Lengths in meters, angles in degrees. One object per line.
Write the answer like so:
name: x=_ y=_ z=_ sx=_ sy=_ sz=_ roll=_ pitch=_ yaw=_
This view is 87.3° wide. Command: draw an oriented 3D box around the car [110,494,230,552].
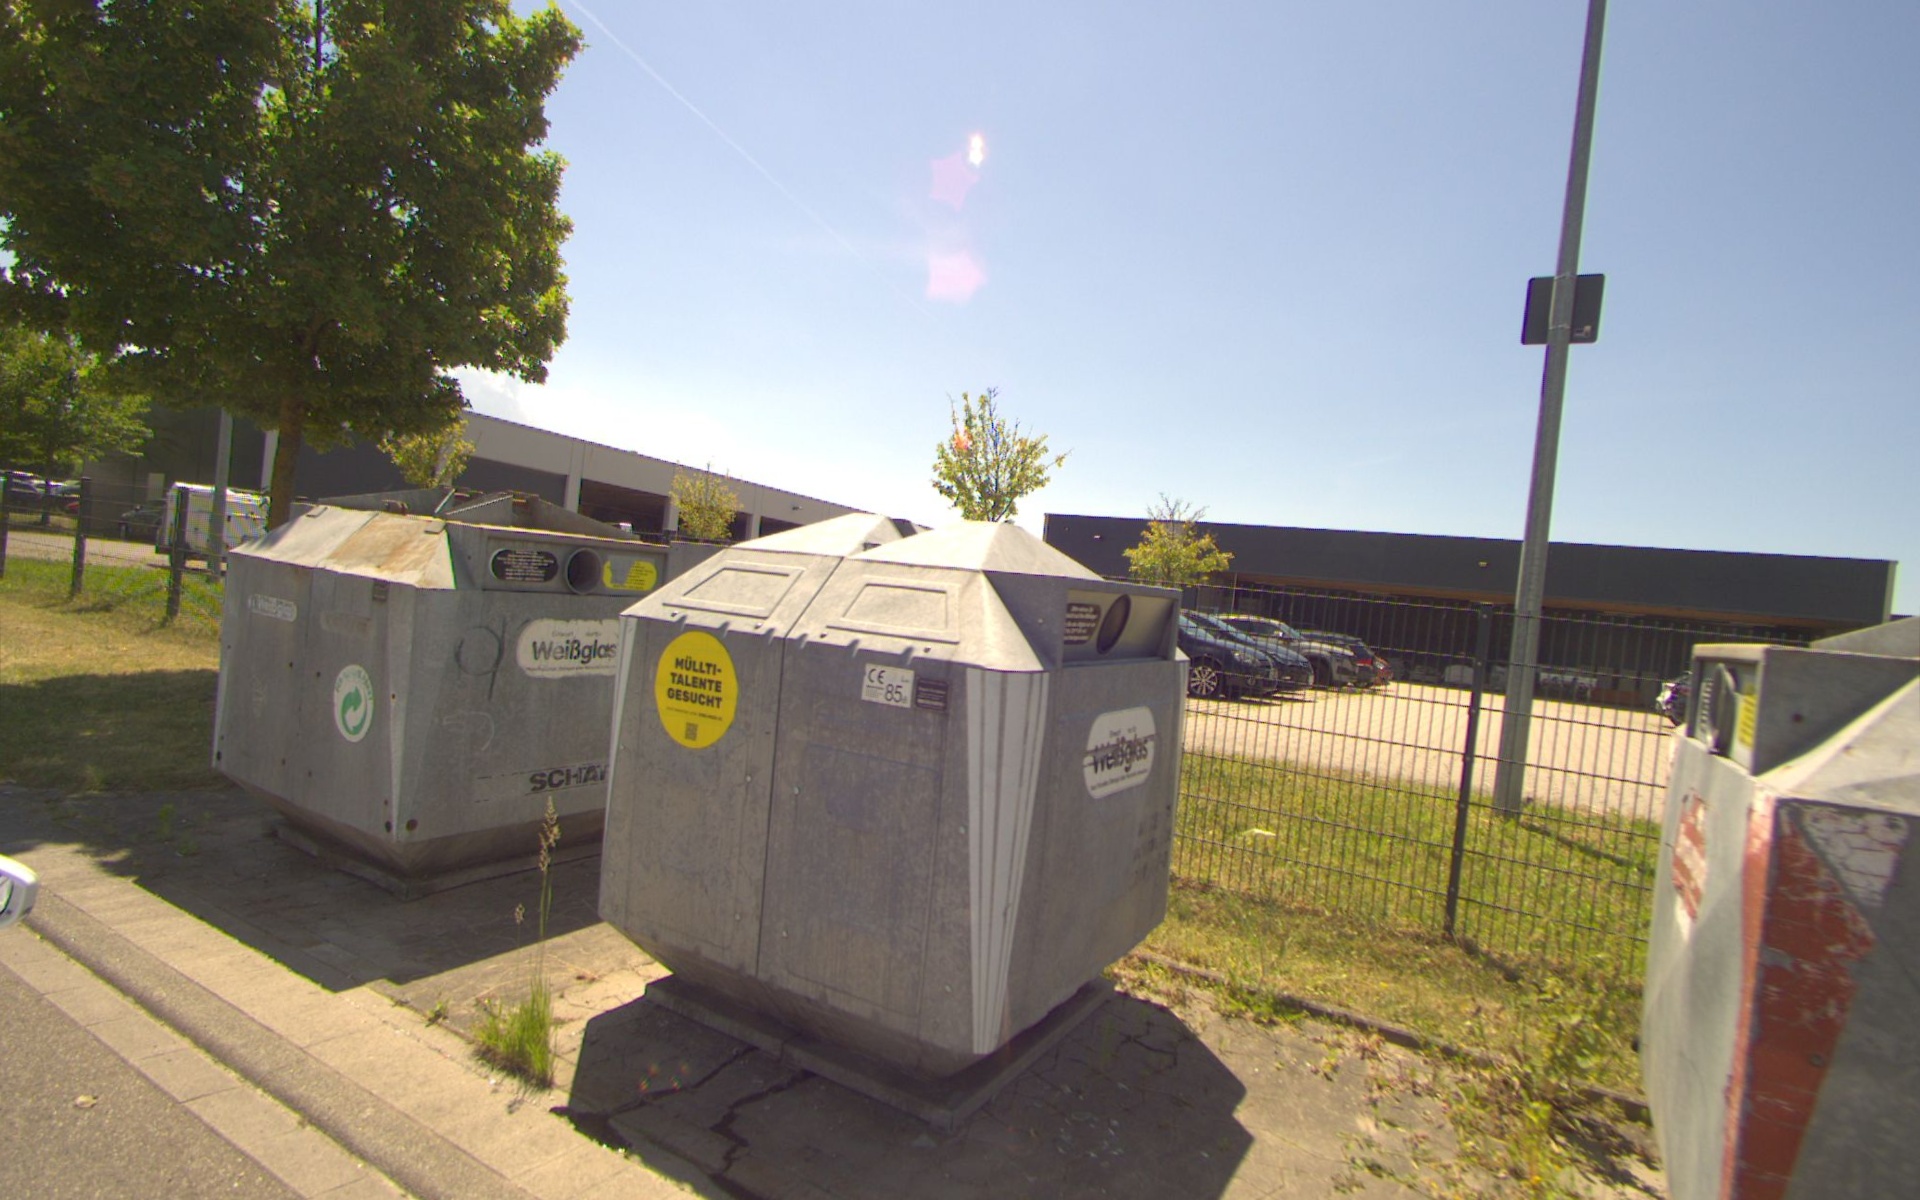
car: x=-25.764 y=-2.503 z=32.814 sx=3.633 sy=1.425 sz=1.738 roll=7 pitch=1 yaw=29

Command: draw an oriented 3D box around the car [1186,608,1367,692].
car: x=8.021 y=1.242 z=25.558 sx=4.030 sy=1.703 sz=1.792 roll=4 pitch=-1 yaw=29

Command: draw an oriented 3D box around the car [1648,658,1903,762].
car: x=18.151 y=2.387 z=22.668 sx=4.005 sy=1.605 sz=1.914 roll=7 pitch=1 yaw=28

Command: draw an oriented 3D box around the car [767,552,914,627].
car: x=-4.650 y=-0.418 z=38.983 sx=5.411 sy=2.508 sz=1.883 roll=4 pitch=0 yaw=28

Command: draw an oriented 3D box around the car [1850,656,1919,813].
car: x=11.345 y=1.597 z=9.508 sx=3.953 sy=1.511 sz=1.649 roll=9 pitch=1 yaw=28

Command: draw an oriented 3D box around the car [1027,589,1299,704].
car: x=3.368 y=0.740 z=16.821 sx=4.030 sy=1.479 sz=1.792 roll=4 pitch=-1 yaw=29

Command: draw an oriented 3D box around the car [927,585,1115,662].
car: x=1.450 y=0.552 z=24.143 sx=4.030 sy=1.479 sz=1.792 roll=4 pitch=-1 yaw=29

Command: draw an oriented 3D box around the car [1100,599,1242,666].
car: x=6.769 y=1.051 z=32.390 sx=4.030 sy=1.783 sz=1.792 roll=4 pitch=-1 yaw=29

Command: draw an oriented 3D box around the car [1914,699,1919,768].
car: x=22.623 y=2.897 z=20.271 sx=4.455 sy=1.736 sz=1.914 roll=4 pitch=-1 yaw=29

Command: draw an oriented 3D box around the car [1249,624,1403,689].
car: x=10.916 y=1.667 z=30.038 sx=4.030 sy=1.534 sz=1.792 roll=4 pitch=-1 yaw=29

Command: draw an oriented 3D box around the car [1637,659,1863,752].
car: x=19.531 y=2.556 z=25.125 sx=4.005 sy=1.605 sz=1.914 roll=7 pitch=1 yaw=28

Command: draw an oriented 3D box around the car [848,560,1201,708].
car: x=0.797 y=0.393 z=12.922 sx=4.072 sy=1.450 sz=1.792 roll=4 pitch=-1 yaw=29

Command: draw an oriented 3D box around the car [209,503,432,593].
car: x=-13.157 y=-1.075 z=20.667 sx=4.392 sy=1.541 sz=1.883 roll=4 pitch=-1 yaw=28

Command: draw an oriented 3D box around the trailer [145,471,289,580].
trailer: x=-17.145 y=-1.725 z=23.174 sx=3.210 sy=2.033 sz=1.494 roll=10 pitch=3 yaw=32

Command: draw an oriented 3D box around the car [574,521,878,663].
car: x=-3.648 y=-0.139 z=15.474 sx=4.345 sy=1.550 sz=1.792 roll=8 pitch=1 yaw=29

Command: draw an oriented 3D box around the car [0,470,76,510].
car: x=-42.908 y=-5.058 z=45.120 sx=1.966 sy=1.415 sz=4.445 roll=4 pitch=-1 yaw=29

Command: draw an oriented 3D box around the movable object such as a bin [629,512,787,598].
movable object such as a bin: x=-14.775 y=-2.640 z=58.844 sx=8.518 sy=4.025 sz=3.545 roll=7 pitch=1 yaw=29

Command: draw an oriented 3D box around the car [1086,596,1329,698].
car: x=4.625 y=0.847 z=18.881 sx=4.030 sy=1.479 sz=1.792 roll=4 pitch=-1 yaw=29

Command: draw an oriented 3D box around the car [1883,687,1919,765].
car: x=24.087 y=3.070 z=22.622 sx=4.455 sy=1.736 sz=1.914 roll=4 pitch=-1 yaw=29

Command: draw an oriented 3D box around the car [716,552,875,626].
car: x=-5.986 y=-0.424 z=36.418 sx=5.560 sy=2.291 sz=1.883 roll=4 pitch=0 yaw=28

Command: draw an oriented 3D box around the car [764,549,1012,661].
car: x=-1.423 y=0.081 z=19.319 sx=4.345 sy=1.500 sz=1.792 roll=8 pitch=1 yaw=29

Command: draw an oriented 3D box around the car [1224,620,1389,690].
car: x=9.640 y=1.517 z=28.048 sx=4.030 sy=1.534 sz=1.792 roll=4 pitch=-1 yaw=29

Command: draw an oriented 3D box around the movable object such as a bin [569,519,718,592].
movable object such as a bin: x=-17.201 y=-2.409 z=54.633 sx=7.194 sy=3.032 sz=3.545 roll=7 pitch=1 yaw=29
